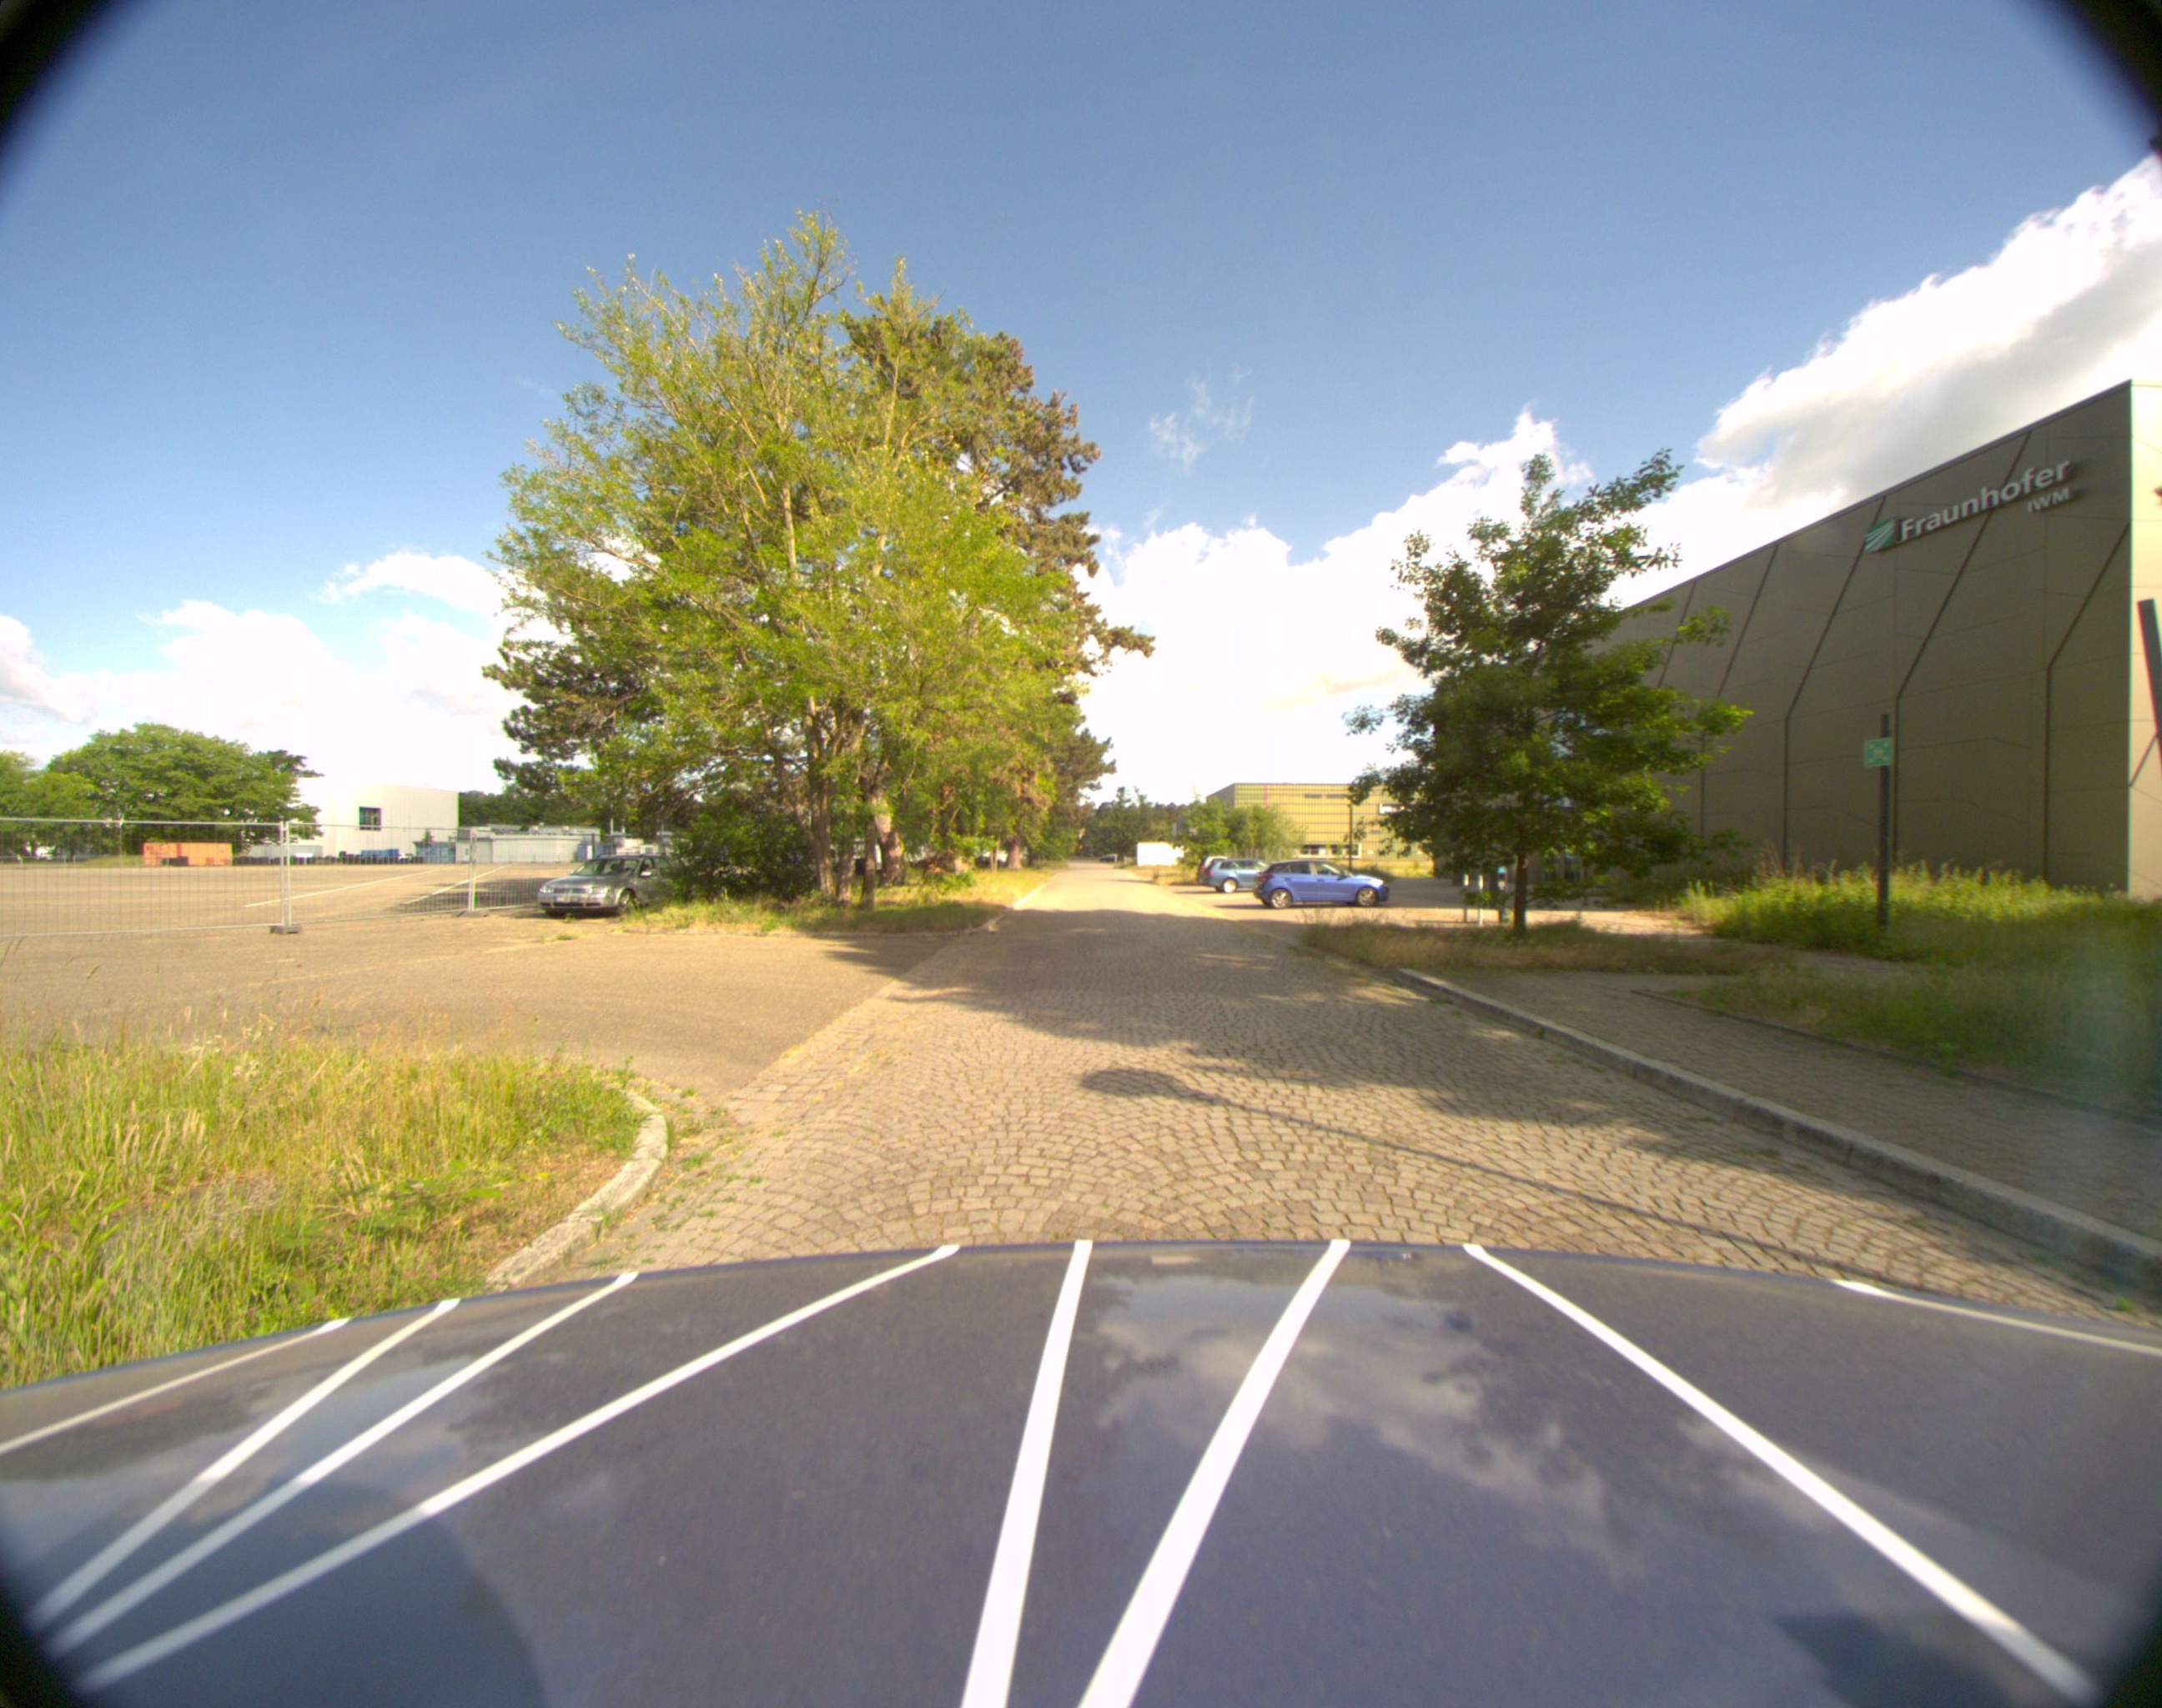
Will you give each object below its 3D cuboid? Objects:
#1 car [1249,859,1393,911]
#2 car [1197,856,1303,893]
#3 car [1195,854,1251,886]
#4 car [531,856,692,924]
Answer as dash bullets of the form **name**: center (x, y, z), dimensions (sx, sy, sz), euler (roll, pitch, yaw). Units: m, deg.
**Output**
- **car**: center (7.332, 0.946, 23.488), dimensions (3.918, 1.459, 1.735), euler (-1, 0, 3)
- **car**: center (7.285, 0.871, 32.943), dimensions (4.180, 1.465, 1.734), euler (-1, 0, -2)
- **car**: center (7.518, 0.835, 40.331), dimensions (2.652, 1.559, 1.481), euler (-1, 0, -1)
- **car**: center (-11.184, 0.779, 18.441), dimensions (1.579, 1.435, 3.985), euler (0, 0, -3)
